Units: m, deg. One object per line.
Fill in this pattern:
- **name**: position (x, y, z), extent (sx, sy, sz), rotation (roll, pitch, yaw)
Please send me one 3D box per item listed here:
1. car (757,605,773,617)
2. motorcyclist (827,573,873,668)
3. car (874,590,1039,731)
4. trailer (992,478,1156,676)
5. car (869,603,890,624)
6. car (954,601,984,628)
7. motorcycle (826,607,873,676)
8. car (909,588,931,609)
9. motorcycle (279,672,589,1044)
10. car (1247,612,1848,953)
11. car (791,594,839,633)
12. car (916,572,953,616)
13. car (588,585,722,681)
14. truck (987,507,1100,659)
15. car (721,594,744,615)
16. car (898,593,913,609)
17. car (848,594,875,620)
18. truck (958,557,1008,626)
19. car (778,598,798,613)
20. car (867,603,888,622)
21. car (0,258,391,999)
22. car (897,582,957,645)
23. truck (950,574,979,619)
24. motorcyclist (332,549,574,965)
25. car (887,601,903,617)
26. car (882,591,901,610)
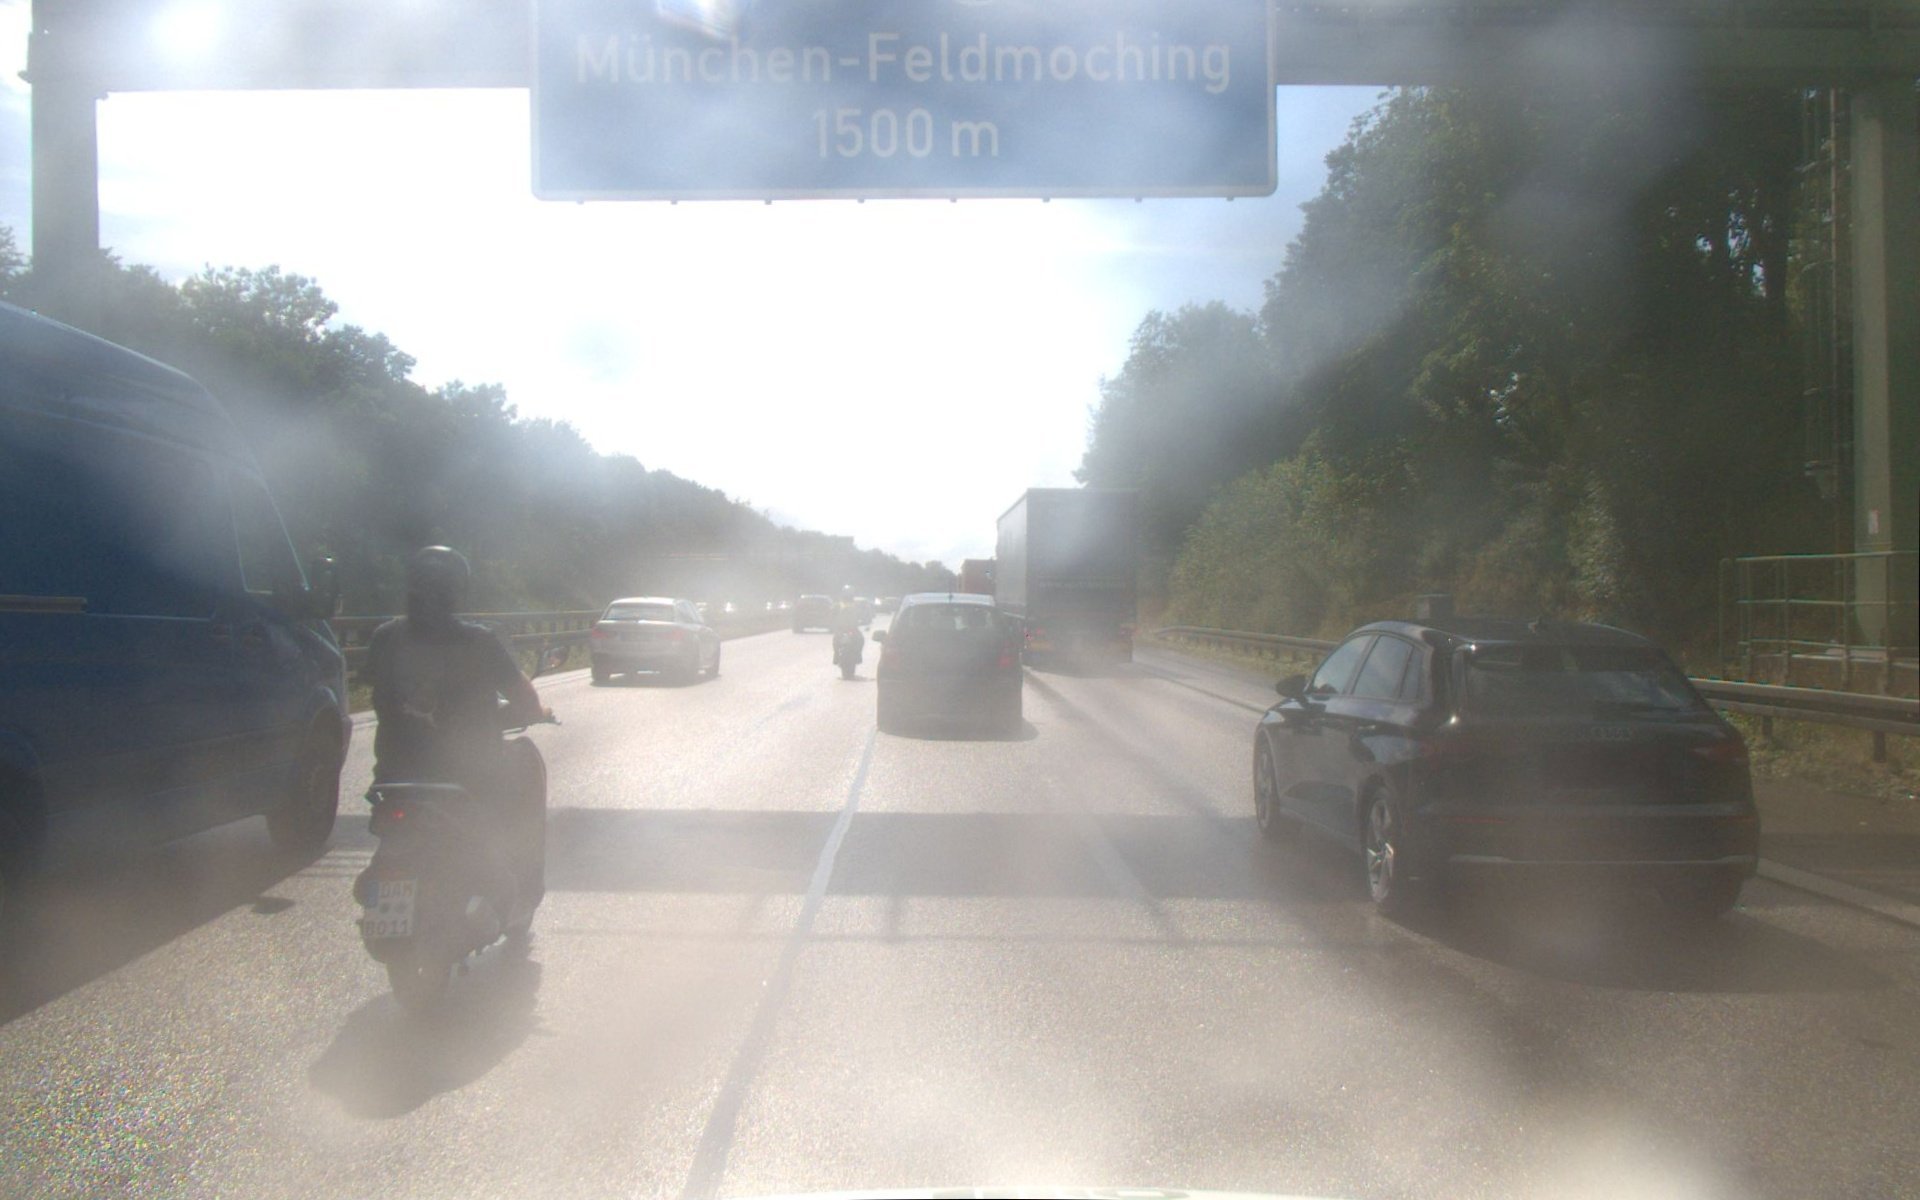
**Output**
- **car**: position (-24.486, 1.380, 207.413), extent (1.598, 1.508, 3.785), rotation (0, 0, -1)
- **motorcyclist**: position (-2.132, 0.391, 32.150), extent (0.804, 1.791, 1.390), rotation (1, -1, -1)
- **car**: position (-0.088, 0.692, 21.023), extent (1.876, 1.592, 4.312), rotation (0, 0, -1)
- **trailer**: position (2.680, -0.500, 43.964), extent (3.026, 4.388, 14.100), rotation (0, 0, -1)
- **car**: position (-7.861, 1.325, 161.548), extent (1.953, 2.049, 3.999), rotation (1, 0, -1)
- **car**: position (0.521, 0.826, 95.596), extent (1.641, 1.516, 3.435), rotation (0, 0, -1)
- **motorcycle**: position (-2.139, 0.791, 32.191), extent (0.803, 1.285, 2.117), rotation (1, 0, -1)
- **car**: position (-2.973, -0.091, 123.325), extent (1.599, 1.516, 3.435), rotation (0, 0, -1)
- **motorcycle**: position (-1.916, 0.878, 6.326), extent (0.662, 1.106, 1.980), rotation (1, 0, -4)
- **car**: position (2.889, 0.799, 9.236), extent (1.719, 1.421, 4.367), rotation (0, 0, -1)
- **car**: position (-6.472, 0.585, 74.049), extent (1.854, 1.656, 4.193), rotation (0, 0, -1)
- **car**: position (-1.166, -0.268, 76.010), extent (1.641, 1.970, 3.772), rotation (0, 0, -1)
- **car**: position (-5.502, 0.541, 30.306), extent (1.723, 1.622, 4.329), rotation (0, 0, -1)
- **truck**: position (2.492, -0.500, 51.163), extent (2.990, 4.400, 5.884), rotation (1, 0, -2)
- **car**: position (-23.869, 0.440, 173.645), extent (1.953, 2.049, 3.999), rotation (2, 0, -2)
- **car**: position (-7.325, 0.106, 222.219), extent (1.953, 2.049, 3.999), rotation (1, 0, -1)
- **car**: position (-6.299, 0.458, 105.966), extent (1.641, 1.625, 3.435), rotation (0, 0, -1)
- **truck**: position (1.523, -0.561, 113.516), extent (3.137, 4.481, 9.430), rotation (0, 0, -1)
- **car**: position (-19.910, 0.641, 191.488), extent (1.883, 1.608, 3.999), rotation (-1, 0, -2)
- **car**: position (-6.738, 0.993, 135.552), extent (1.641, 1.516, 3.435), rotation (0, 0, -1)
- **car**: position (-4.513, 0.098, 7.487), extent (1.975, 2.695, 5.775), rotation (0, 0, -1)
- **car**: position (-1.157, 0.456, 56.488), extent (1.953, 2.049, 3.998), rotation (1, 0, -2)
- **truck**: position (0.436, -0.302, 183.227), extent (2.823, 4.770, 12.655), rotation (1, 0, -1)
- **motorcyclist**: position (-1.912, 0.560, 6.372), extent (0.657, 1.467, 1.019), rotation (1, -1, -4)
- **car**: position (-8.019, 1.114, 205.036), extent (1.953, 2.049, 3.999), rotation (1, 0, -1)
- **car**: position (-7.580, 0.112, 182.559), extent (1.953, 2.049, 3.999), rotation (1, 0, -1)
